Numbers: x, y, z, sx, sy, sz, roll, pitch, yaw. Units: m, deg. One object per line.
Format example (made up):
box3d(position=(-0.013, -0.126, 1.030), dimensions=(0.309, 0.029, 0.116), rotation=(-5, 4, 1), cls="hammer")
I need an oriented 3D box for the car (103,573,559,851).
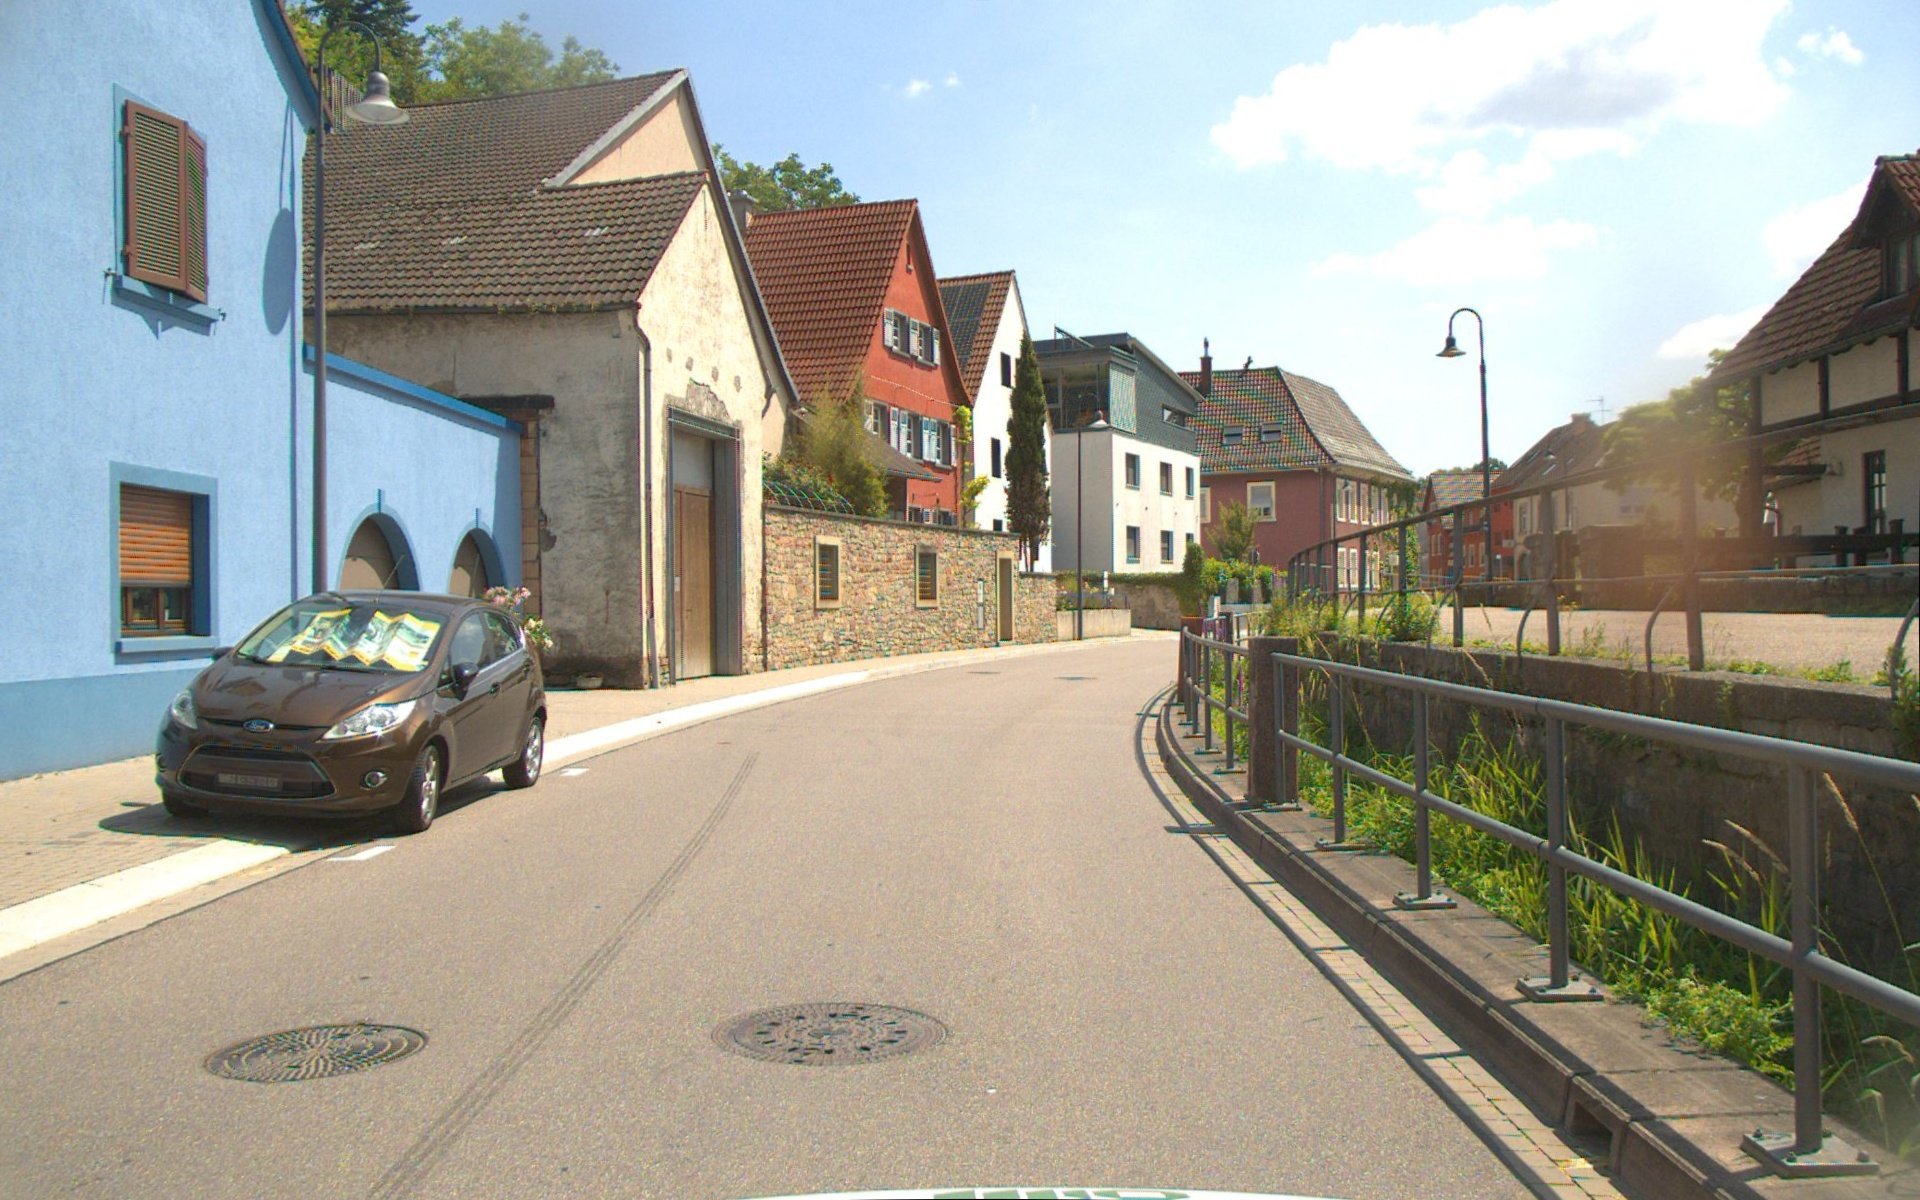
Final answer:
box3d(position=(-4.112, 0.631, 11.517), dimensions=(1.682, 1.556, 3.856), rotation=(2, 1, 0), cls="car")
